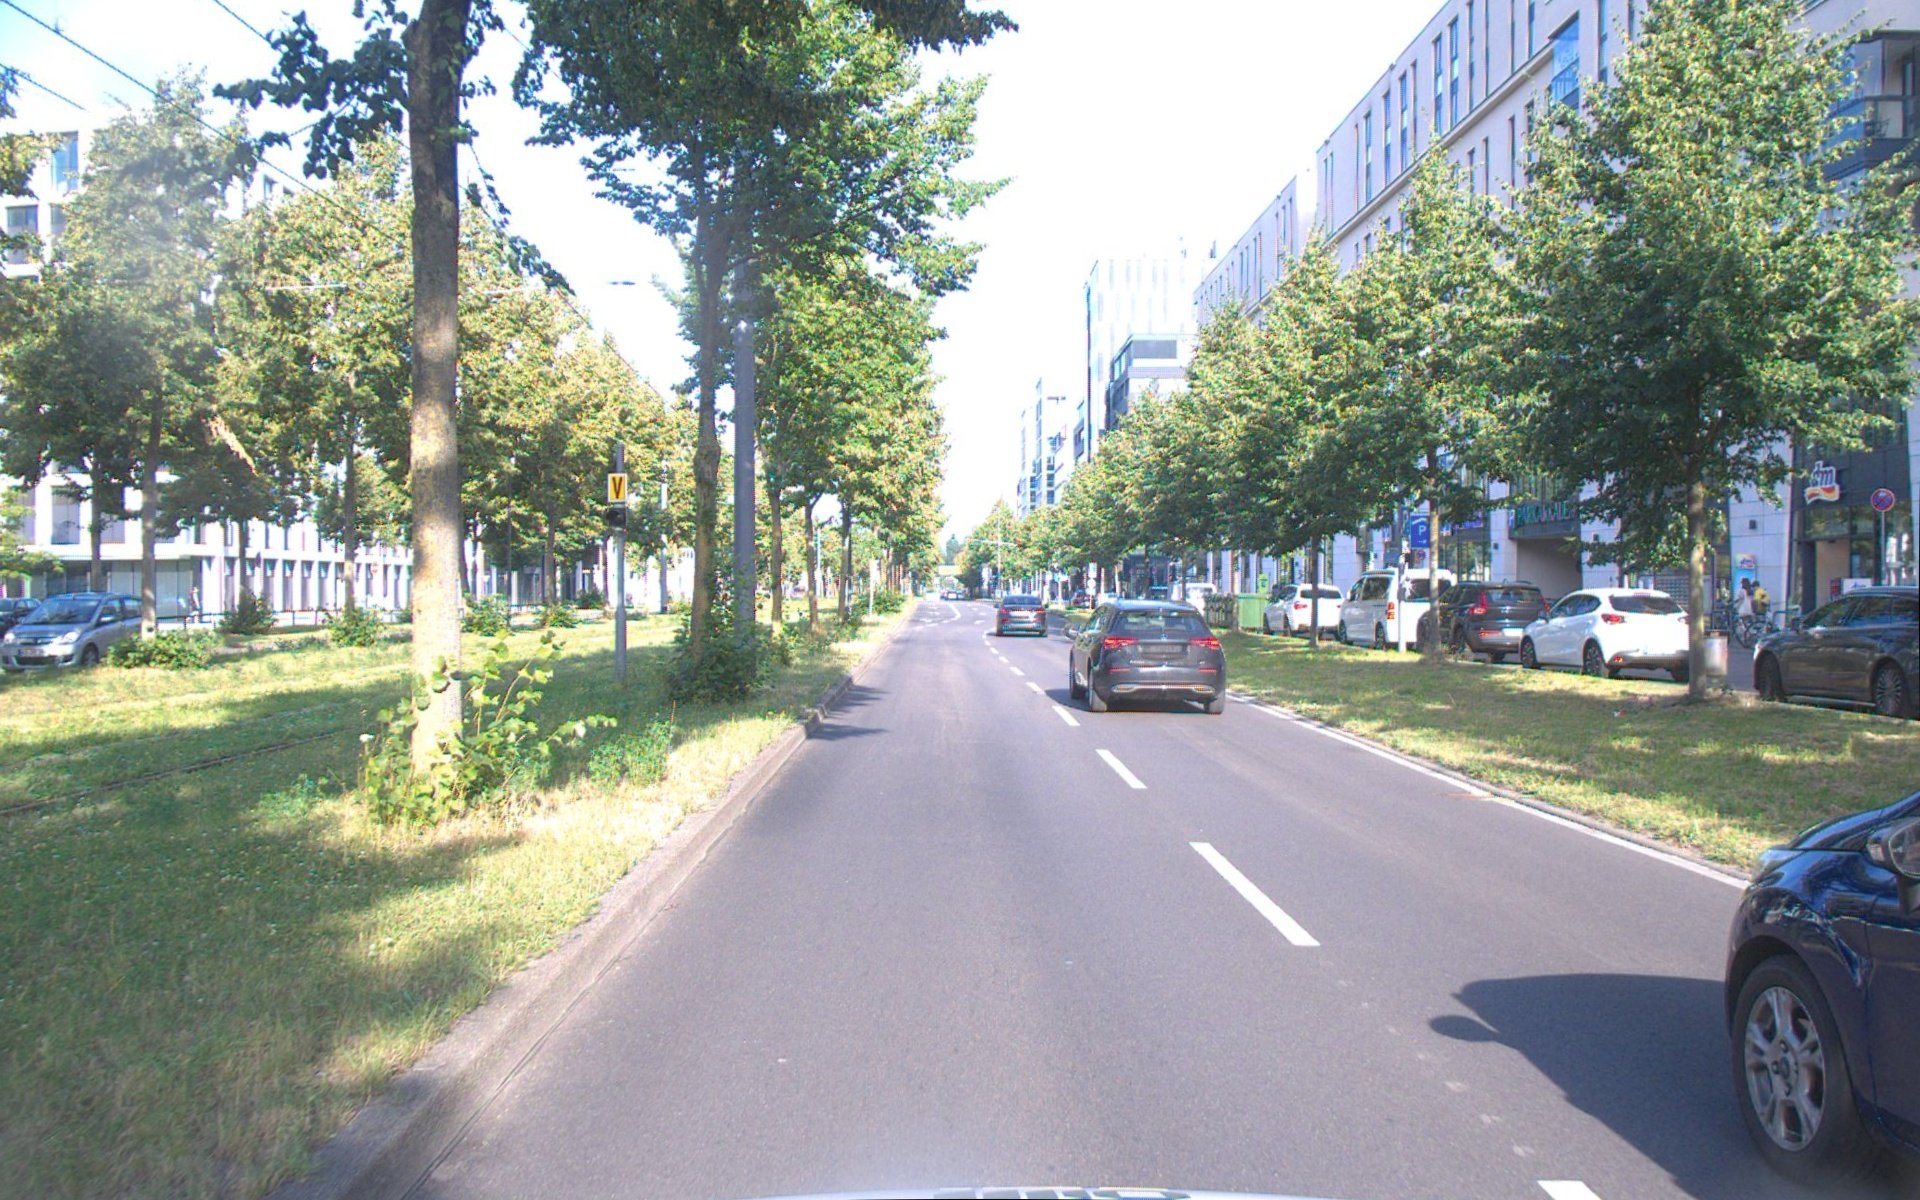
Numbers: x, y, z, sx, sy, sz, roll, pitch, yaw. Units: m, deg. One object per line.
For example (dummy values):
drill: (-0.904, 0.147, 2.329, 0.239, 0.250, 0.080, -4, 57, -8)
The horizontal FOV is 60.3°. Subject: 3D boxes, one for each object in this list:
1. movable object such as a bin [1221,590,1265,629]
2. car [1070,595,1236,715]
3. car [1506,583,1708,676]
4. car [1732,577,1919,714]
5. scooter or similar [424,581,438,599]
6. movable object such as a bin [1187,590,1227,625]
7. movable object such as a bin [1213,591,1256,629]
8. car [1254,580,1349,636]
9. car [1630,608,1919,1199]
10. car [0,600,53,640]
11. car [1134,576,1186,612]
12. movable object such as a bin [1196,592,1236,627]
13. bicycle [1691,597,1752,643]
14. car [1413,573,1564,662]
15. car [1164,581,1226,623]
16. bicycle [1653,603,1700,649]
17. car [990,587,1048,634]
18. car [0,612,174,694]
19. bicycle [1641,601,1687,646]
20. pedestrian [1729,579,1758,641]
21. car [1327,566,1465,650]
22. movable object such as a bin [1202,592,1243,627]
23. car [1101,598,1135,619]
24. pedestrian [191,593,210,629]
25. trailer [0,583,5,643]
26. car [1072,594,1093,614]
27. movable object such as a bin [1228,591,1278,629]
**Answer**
movable object such as a bin: (9.982, 0.348, 58.447, 1.252, 1.325, 1.190, 2, 0, -5)
car: (2.532, 0.694, 22.572, 1.738, 1.449, 3.960, 2, 0, -1)
car: (10.926, 0.473, 28.236, 1.584, 1.437, 4.165, 2, 0, -4)
car: (11.109, 0.516, 19.631, 1.693, 1.457, 4.722, 2, 0, 0)
scooter or similar: (-37.452, -0.720, 117.034, 0.328, 1.247, 1.300, 1, 0, 12)
movable object such as a bin: (9.574, 0.281, 64.172, 1.252, 1.314, 1.177, 2, 0, -5)
movable object such as a bin: (9.927, 0.352, 59.793, 1.252, 1.341, 1.190, 2, 0, -5)
car: (10.540, 0.220, 51.373, 1.696, 1.658, 4.847, 0, 0, -4)
car: (2.945, 0.766, 3.310, 1.528, 1.449, 3.906, 2, 0, -1)
car: (-35.521, 0.728, 61.565, 1.646, 1.417, 3.758, 2, 0, -4)
car: (10.239, -0.312, 84.781, 1.859, 1.738, 4.676, 2, 1, -3)
movable object such as a bin: (9.656, 0.348, 62.486, 1.252, 1.258, 1.190, 2, 0, -5)
bicycle: (17.802, 0.463, 38.723, 0.410, 1.018, 2.043, -3, 0, -1)
car: (10.850, 0.345, 34.261, 1.693, 1.679, 4.339, 2, 0, 0)
car: (10.261, 0.092, 72.509, 1.791, 1.741, 4.293, 2, 0, -4)
bicycle: (18.039, 0.643, 41.674, 0.337, 1.099, 1.742, -3, 0, -1)
car: (2.035, 0.358, 57.838, 1.822, 1.551, 3.785, 2, 0, -1)
car: (-16.553, 0.956, 31.344, 1.551, 1.417, 3.695, 2, 0, -1)
bicycle: (17.697, 0.580, 41.618, 0.337, 1.100, 1.732, -3, 0, -1)
pedestrian: (19.700, 0.255, 41.586, 0.583, 1.548, 0.515, 1, -1, 21)
car: (10.716, 0.186, 41.056, 1.801, 1.909, 5.027, 2, 0, -4)
movable object such as a bin: (9.712, 0.346, 61.189, 1.252, 1.258, 1.190, 2, 0, -5)
car: (10.022, 0.551, 105.253, 1.674, 1.264, 3.904, 2, 0, -2)
pedestrian: (-37.360, 0.527, 81.376, 0.556, 1.758, 0.691, 1, -1, -1)
trailer: (-35.956, 0.392, 57.617, 4.273, 2.090, 1.758, 2, 0, 2)
car: (9.348, 0.313, 126.477, 1.573, 1.394, 4.159, 2, 0, 4)
movable object such as a bin: (10.084, 0.345, 56.902, 1.371, 1.258, 1.334, 1, 0, 26)
